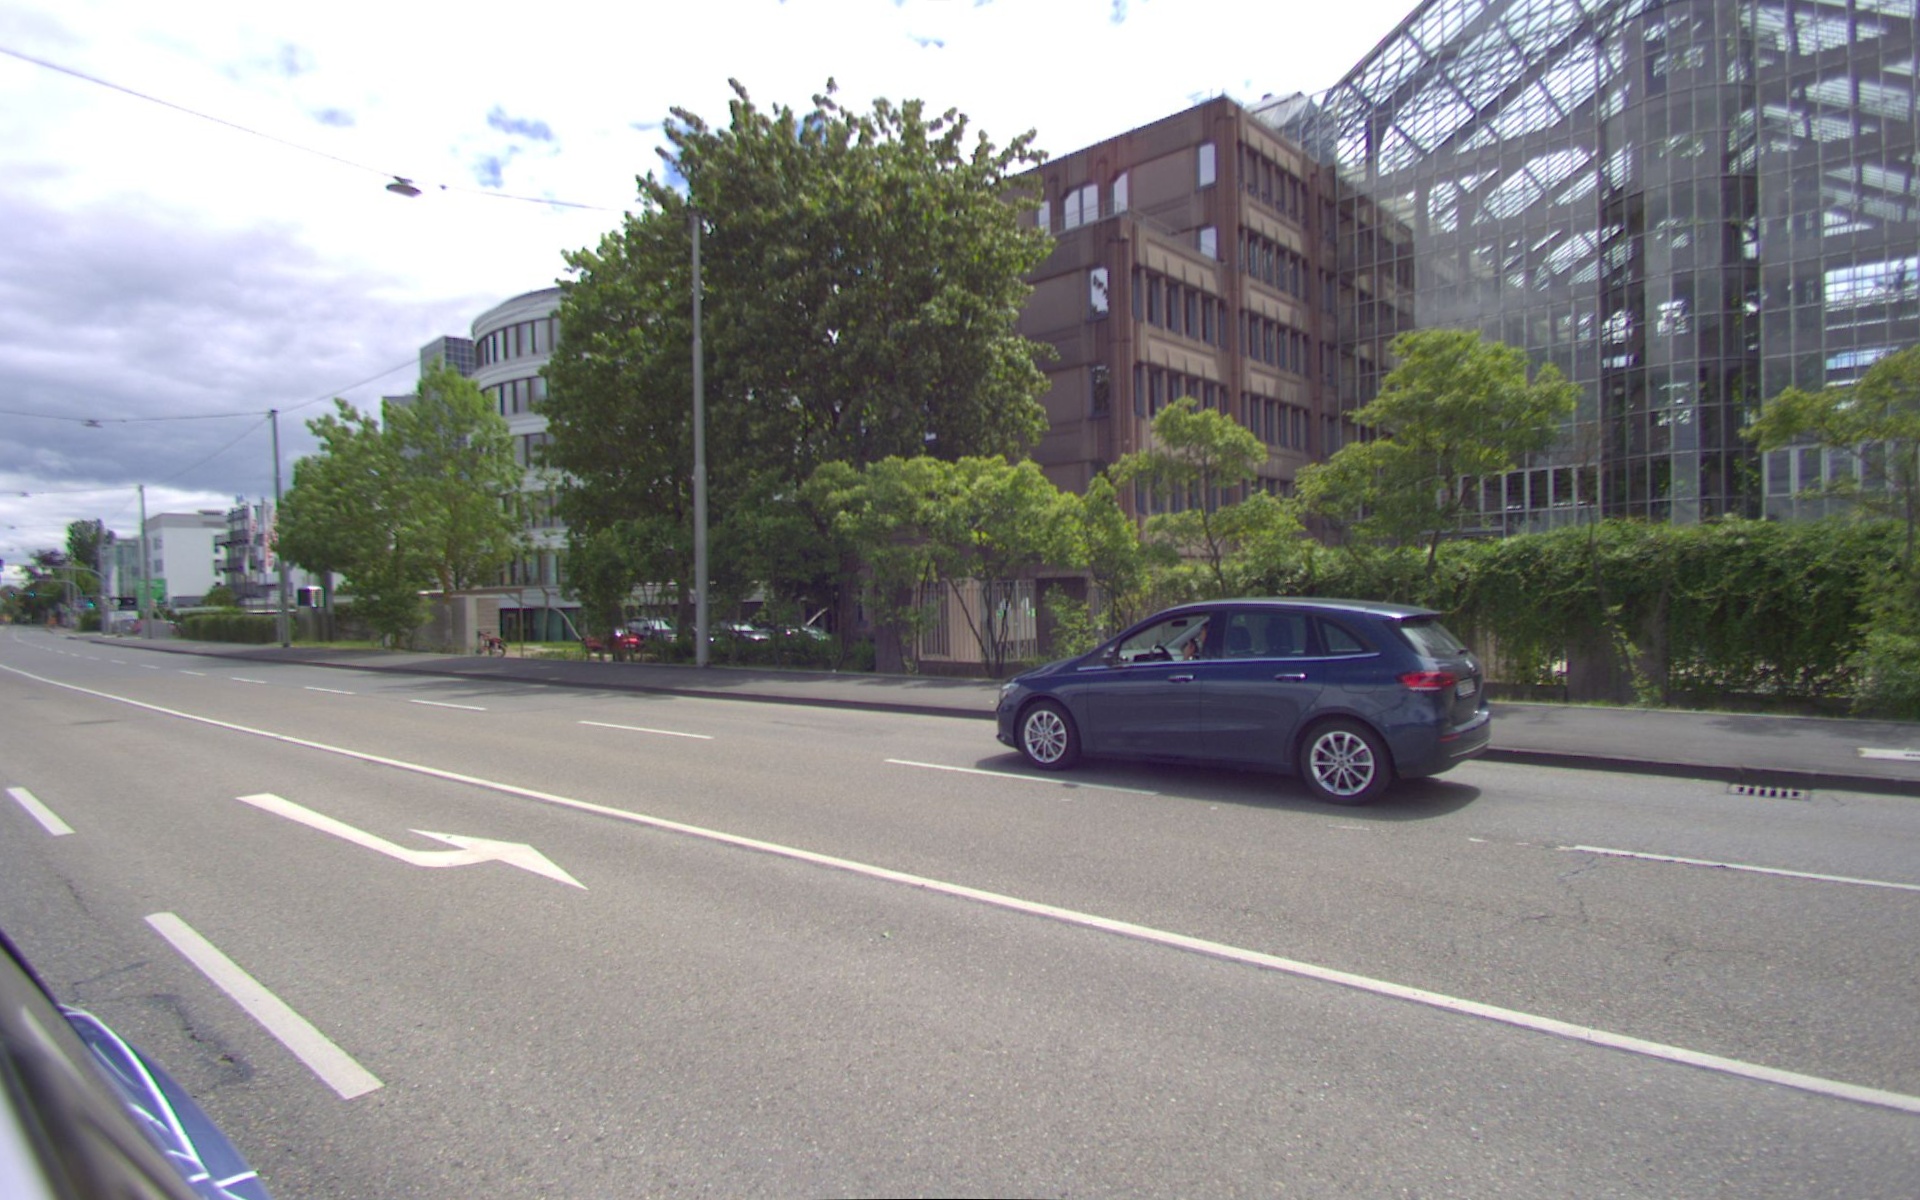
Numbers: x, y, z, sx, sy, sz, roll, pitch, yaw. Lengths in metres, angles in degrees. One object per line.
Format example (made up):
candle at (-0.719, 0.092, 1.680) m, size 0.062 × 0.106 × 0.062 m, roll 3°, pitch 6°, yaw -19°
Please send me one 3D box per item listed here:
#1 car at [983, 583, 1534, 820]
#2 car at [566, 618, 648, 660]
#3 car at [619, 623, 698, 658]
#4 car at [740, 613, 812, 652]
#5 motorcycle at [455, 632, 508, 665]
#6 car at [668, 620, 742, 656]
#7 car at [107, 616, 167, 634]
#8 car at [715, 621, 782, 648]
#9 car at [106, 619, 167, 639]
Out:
car at (2.434, 0.724, 8.906) m, size 4.310 × 1.597 × 1.778 m, roll -1°, pitch -1°, yaw 40°
car at (-17.285, 1.879, 49.532) m, size 3.994 × 1.807 × 1.846 m, roll 3°, pitch 0°, yaw 37°
car at (-15.170, 2.018, 50.874) m, size 3.999 × 1.630 × 1.972 m, roll -1°, pitch -3°, yaw 42°
car at (-10.317, 1.799, 56.662) m, size 3.999 × 2.042 × 1.907 m, roll -1°, pitch 0°, yaw 42°
motorcycle at (-20.227, 2.037, 42.791) m, size 0.745 × 1.254 × 1.881 m, roll -1°, pitch 0°, yaw 40°
car at (-13.391, 1.969, 53.053) m, size 3.999 × 1.736 × 1.800 m, roll -1°, pitch 0°, yaw 42°
car at (-74.515, 2.255, 91.628) m, size 1.824 × 1.342 × 3.945 m, roll -2°, pitch 1°, yaw 42°
car at (-11.552, 1.847, 55.126) m, size 3.999 × 1.386 × 1.505 m, roll -1°, pitch 0°, yaw 42°
car at (-69.710, 2.431, 85.683) m, size 1.835 × 1.623 × 3.753 m, roll -2°, pitch -1°, yaw 40°
